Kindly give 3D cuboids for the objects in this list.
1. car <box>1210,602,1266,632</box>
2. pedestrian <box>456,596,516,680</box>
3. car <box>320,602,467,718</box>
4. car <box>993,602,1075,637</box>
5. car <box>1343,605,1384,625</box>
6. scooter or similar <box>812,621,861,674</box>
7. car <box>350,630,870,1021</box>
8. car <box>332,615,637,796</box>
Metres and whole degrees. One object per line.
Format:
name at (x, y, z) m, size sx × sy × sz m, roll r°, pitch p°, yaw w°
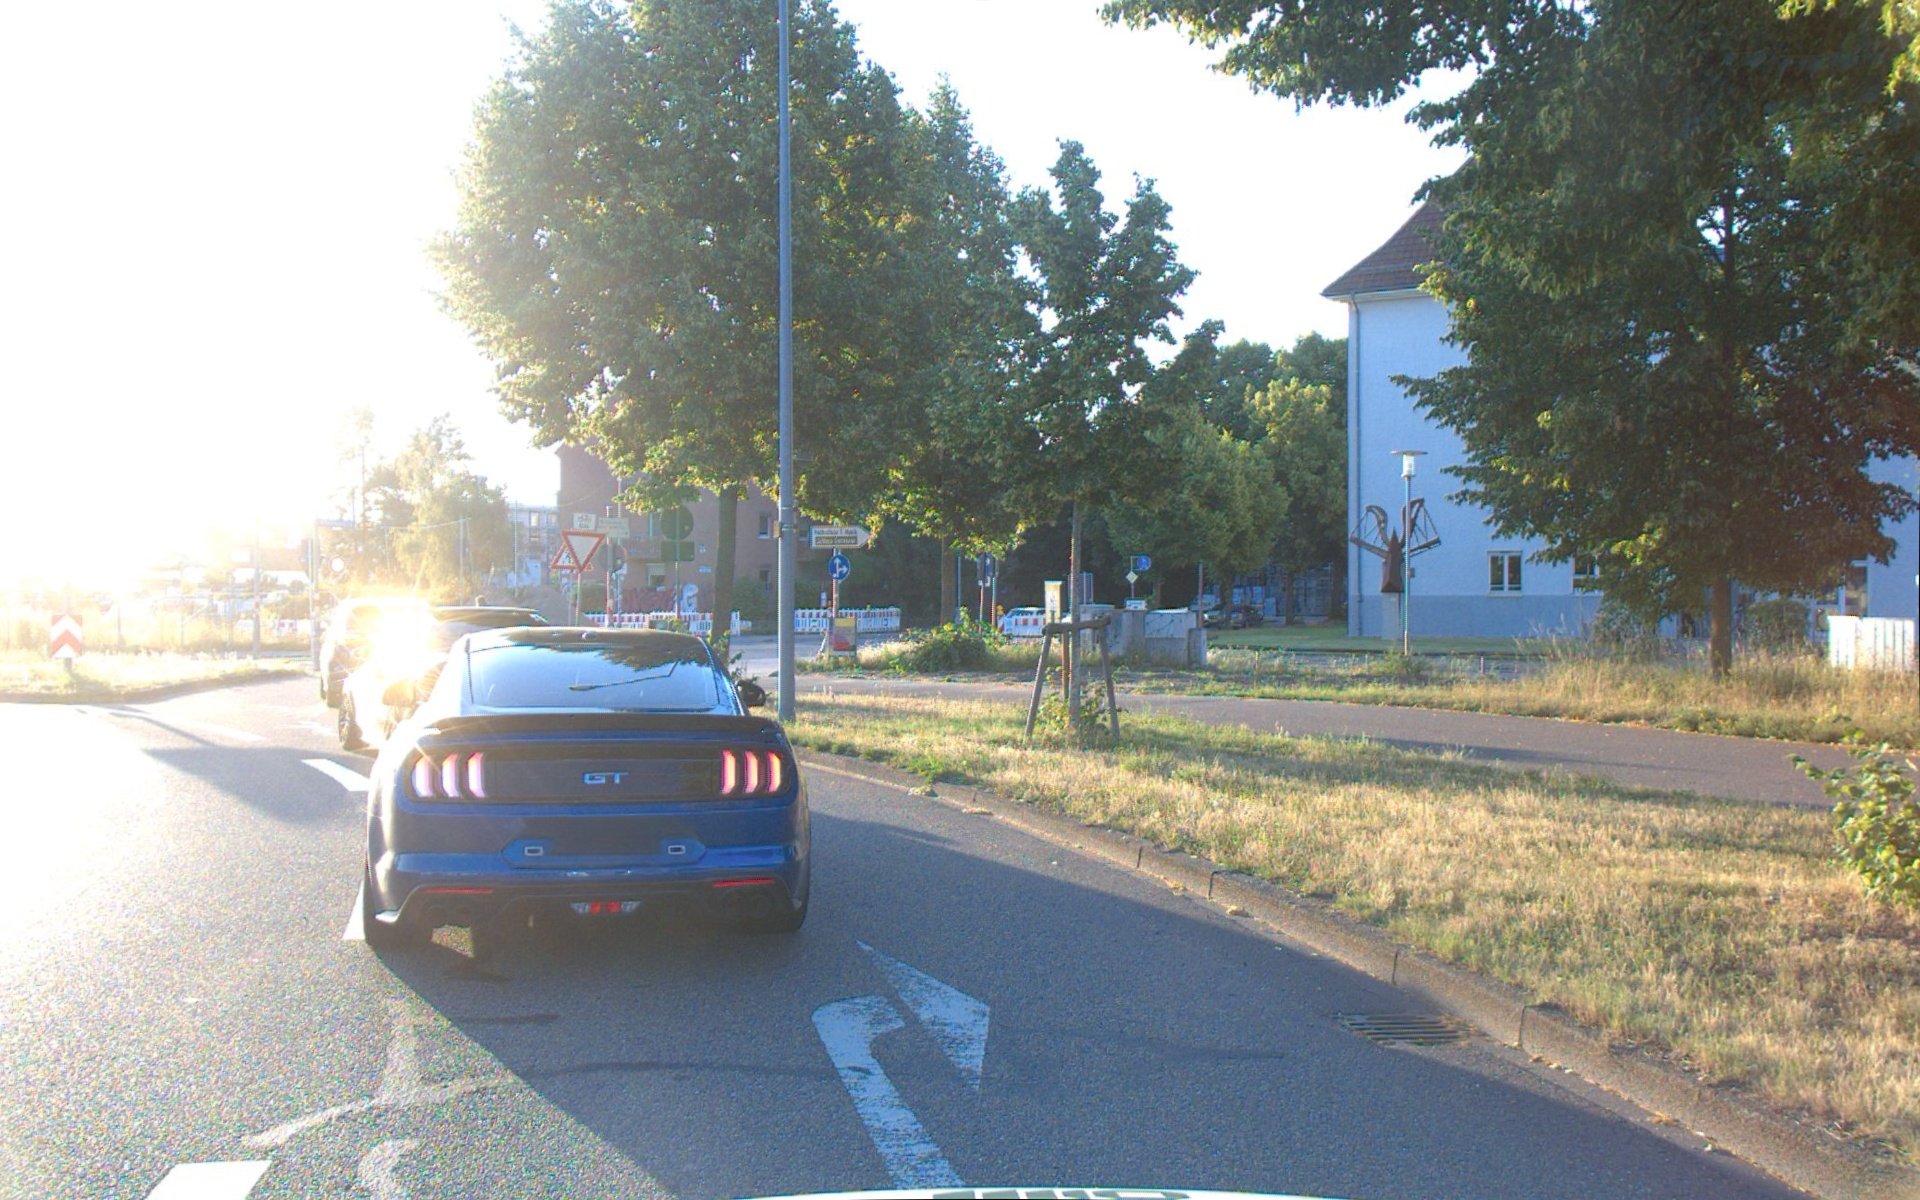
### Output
car at (15.542, 0.928, 92.306) m, size 1.914 × 1.630 × 4.071 m, roll 0°, pitch 0°, yaw 28°
pedestrian at (-9.866, 0.774, 34.426) m, size 0.867 × 1.716 × 0.845 m, roll 0°, pitch 0°, yaw 27°
car at (-9.025, 0.935, 26.166) m, size 1.924 × 1.630 × 4.049 m, roll 3°, pitch -2°, yaw -22°
car at (3.116, 0.790, 69.214) m, size 1.841 × 1.426 × 3.908 m, roll 0°, pitch 0°, yaw 30°
car at (28.693, 1.043, 117.640) m, size 1.840 × 1.426 × 3.909 m, roll 0°, pitch 0°, yaw 29°
scooter or similar at (-2.985, 1.150, 40.010) m, size 1.105 × 1.260 × 0.439 m, roll 0°, pitch -1°, yaw -24°
car at (-1.952, 0.862, 8.471) m, size 1.920 × 1.365 × 4.648 m, roll 1°, pitch -1°, yaw -17°
car at (-4.657, 0.893, 15.731) m, size 1.929 × 1.452 × 4.389 m, roll 2°, pitch -1°, yaw -28°
